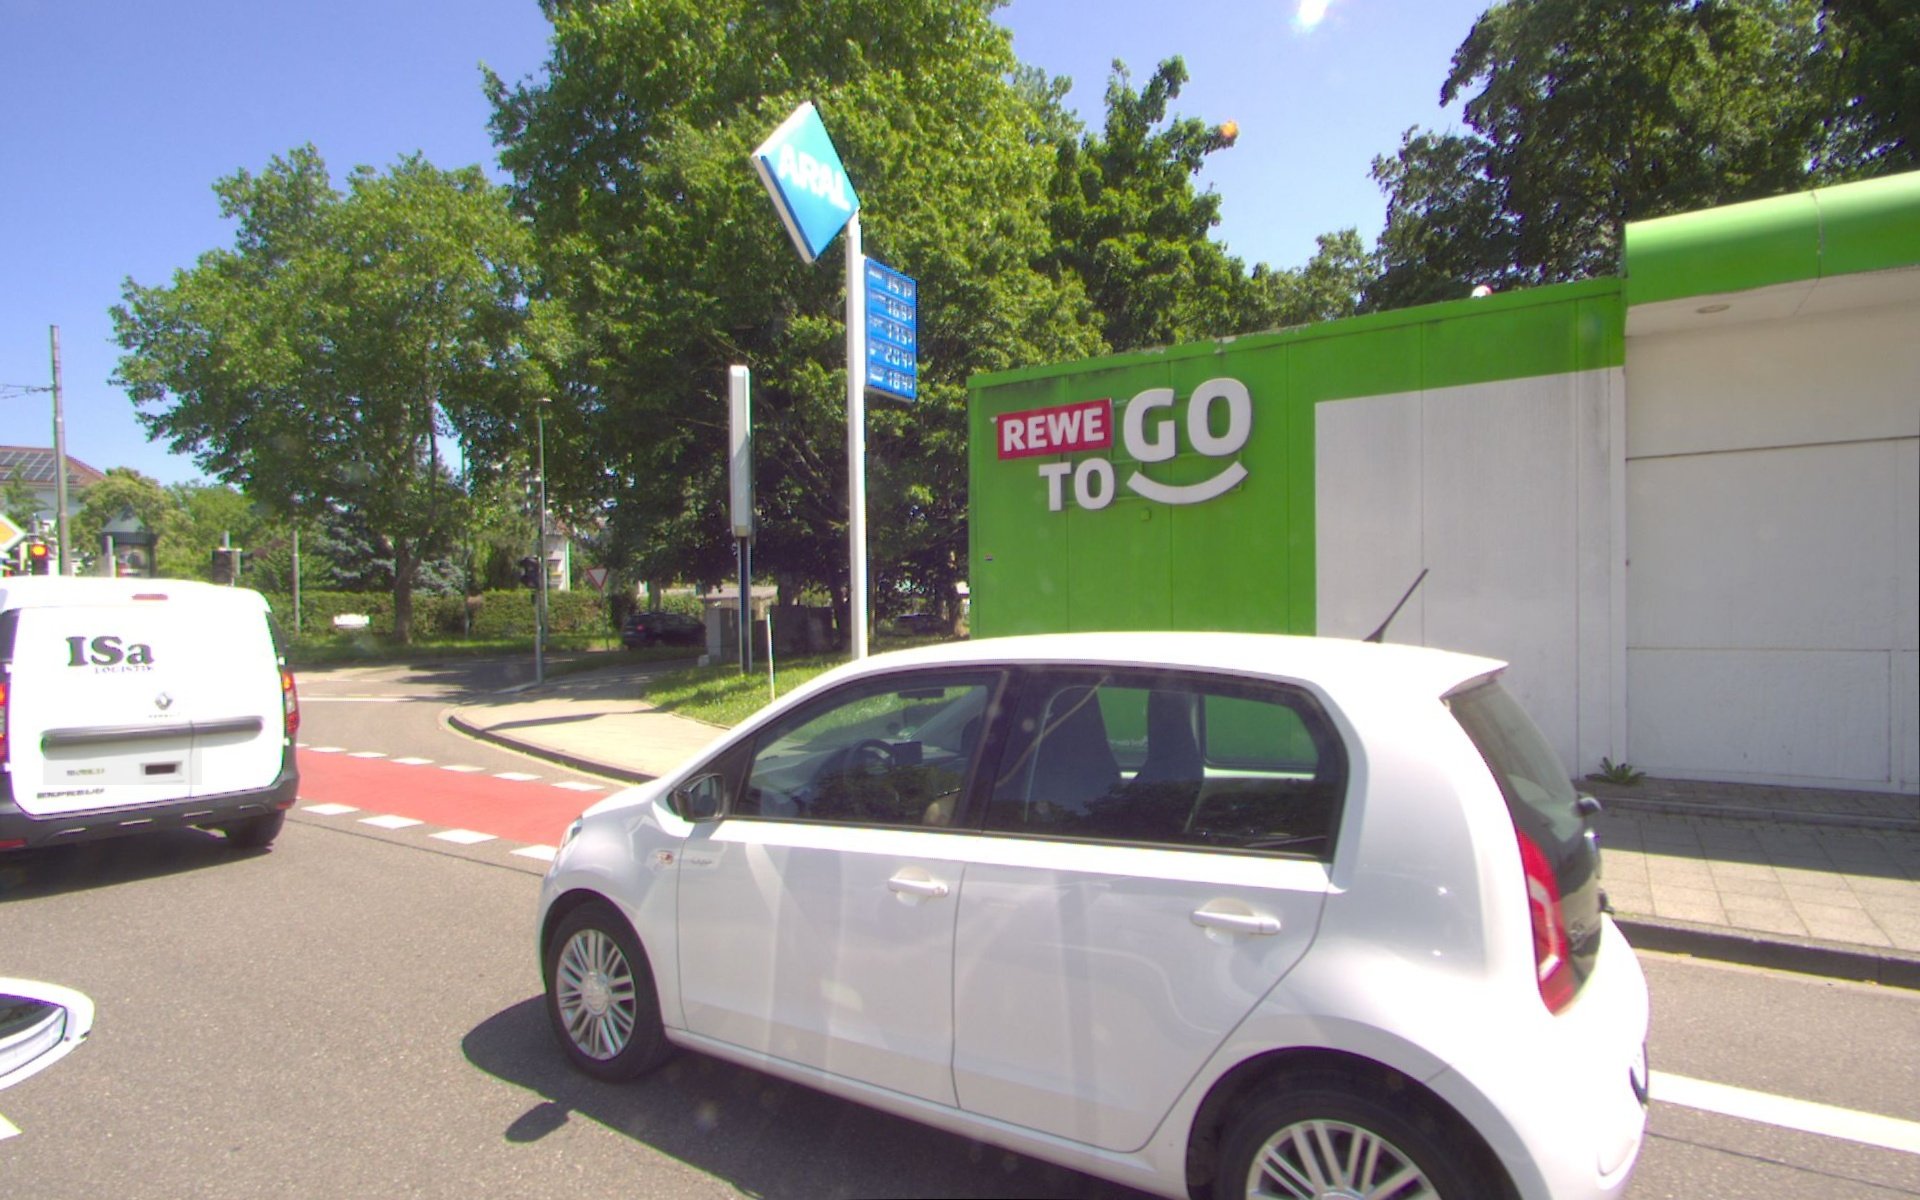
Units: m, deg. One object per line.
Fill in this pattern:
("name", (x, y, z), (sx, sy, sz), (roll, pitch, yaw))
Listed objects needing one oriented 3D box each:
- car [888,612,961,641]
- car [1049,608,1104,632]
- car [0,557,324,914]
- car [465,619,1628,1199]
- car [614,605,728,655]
("car", (-1.843, 1.374, 52.764), (1.527, 1.397, 3.966), (-1, 0, 43))
("car", (8.259, 1.396, 70.761), (1.974, 1.638, 4.425), (-1, 0, 37))
("car", (-6.308, 0.735, 6.866), (3.954, 1.854, 1.707), (-1, 0, 31))
("car", (0.104, 0.813, 3.309), (3.472, 1.470, 1.603), (-1, 0, 34))
("car", (-11.570, 1.157, 40.195), (1.978, 1.884, 3.966), (-1, 0, 42))
